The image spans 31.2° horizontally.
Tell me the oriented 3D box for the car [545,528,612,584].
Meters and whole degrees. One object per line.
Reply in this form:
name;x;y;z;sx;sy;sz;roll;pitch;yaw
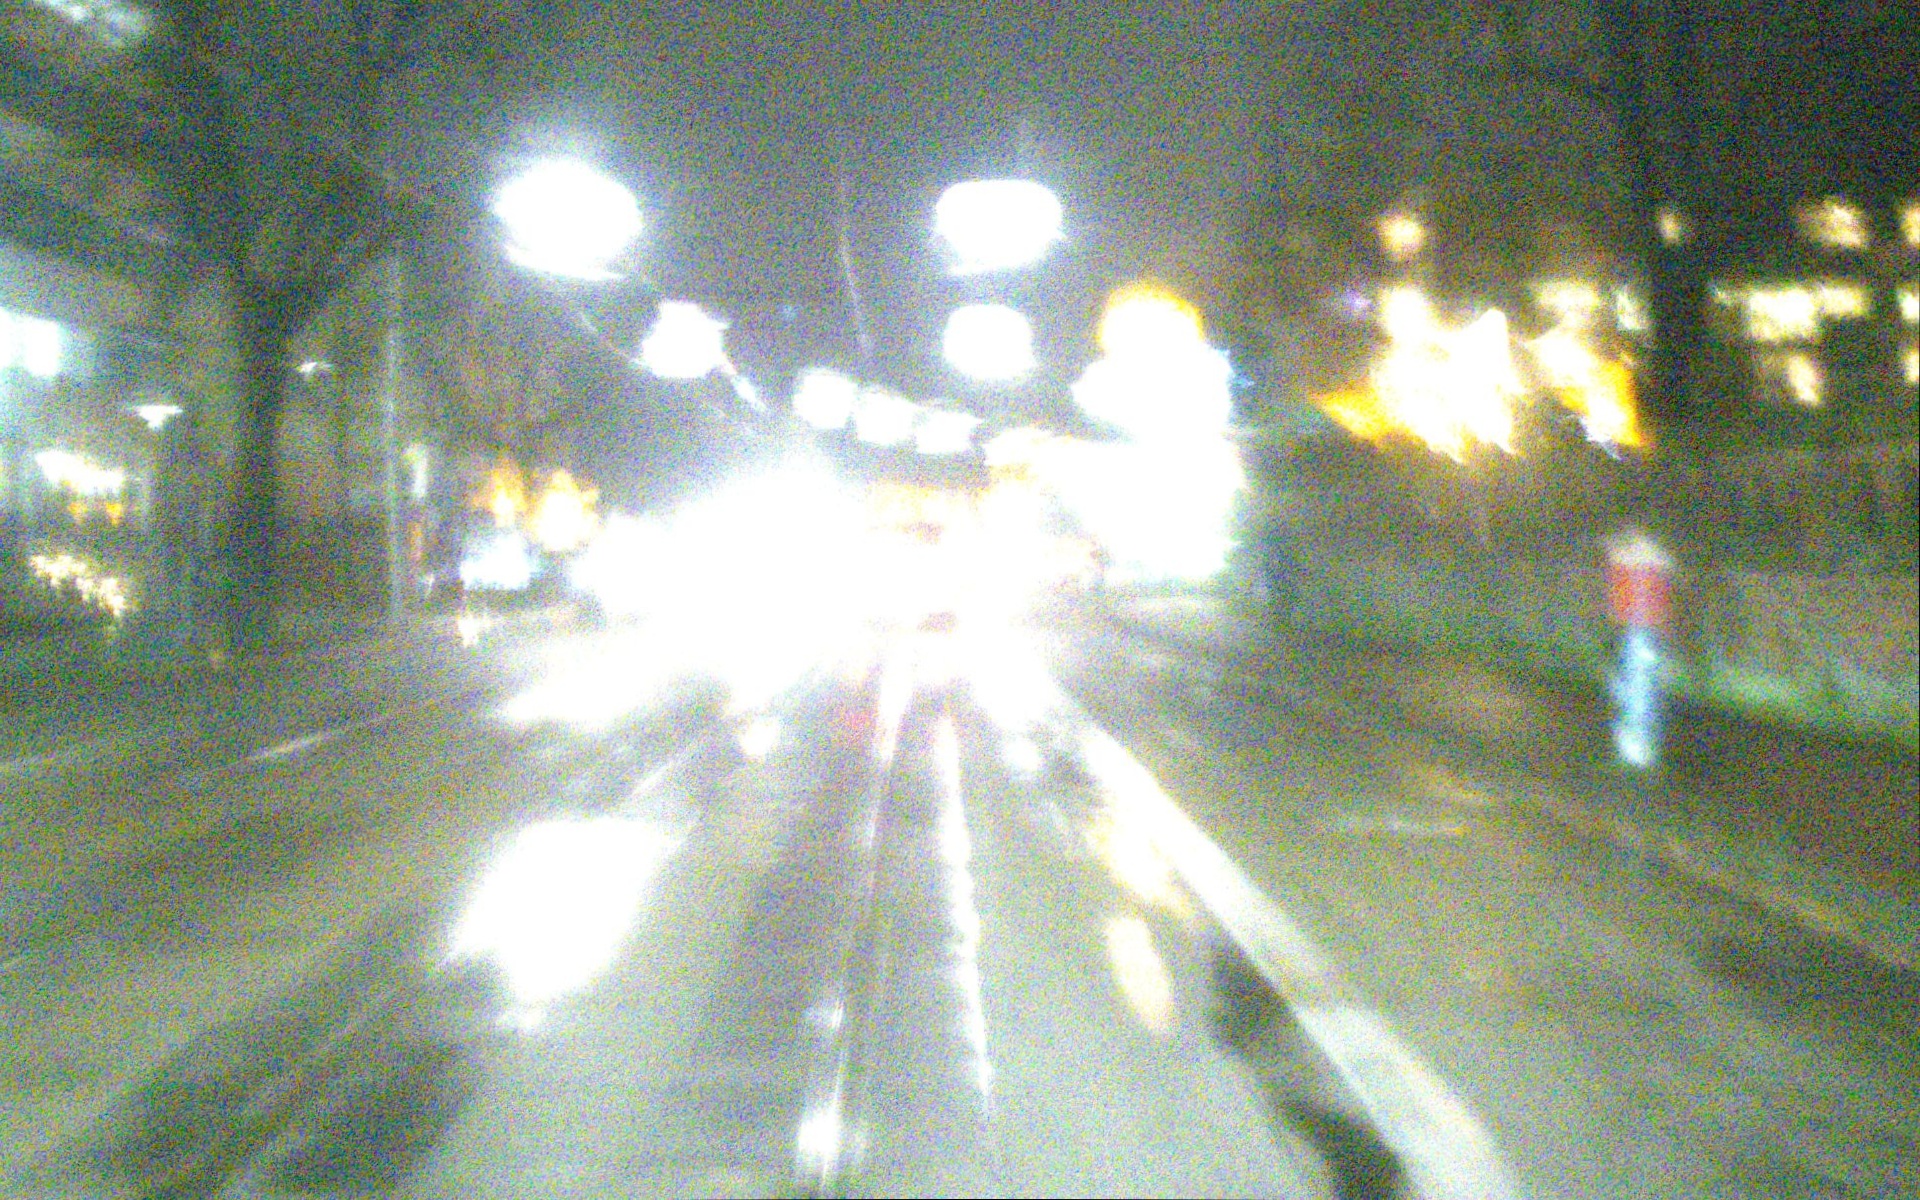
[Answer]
car;-13.864;-1.607;125.057;1.993;2.007;4.000;0;1;0

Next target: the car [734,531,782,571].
car;-10.007;-2.410;169.747;2.319;1.925;4.964;0;1;-4

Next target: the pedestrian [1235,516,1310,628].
pedestrian;4.805;-0.437;52.895;0.939;1.658;0.994;-2;1;-5

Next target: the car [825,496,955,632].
car;-1.287;-0.655;61.850;2.244;2.353;4.394;0;1;-2

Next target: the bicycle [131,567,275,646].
bicycle;-10.433;0.088;47.438;1.853;1.074;0.628;0;1;0

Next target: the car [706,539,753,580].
car;-9.902;-1.750;147.727;1.993;1.718;4.077;0;1;-4

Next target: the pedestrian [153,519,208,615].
pedestrian;-13.709;-0.585;60.481;0.786;1.681;0.883;0;1;-1

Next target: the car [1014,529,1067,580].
car;3.261;-1.851;139.742;1.993;2.007;4.000;0;1;-1
